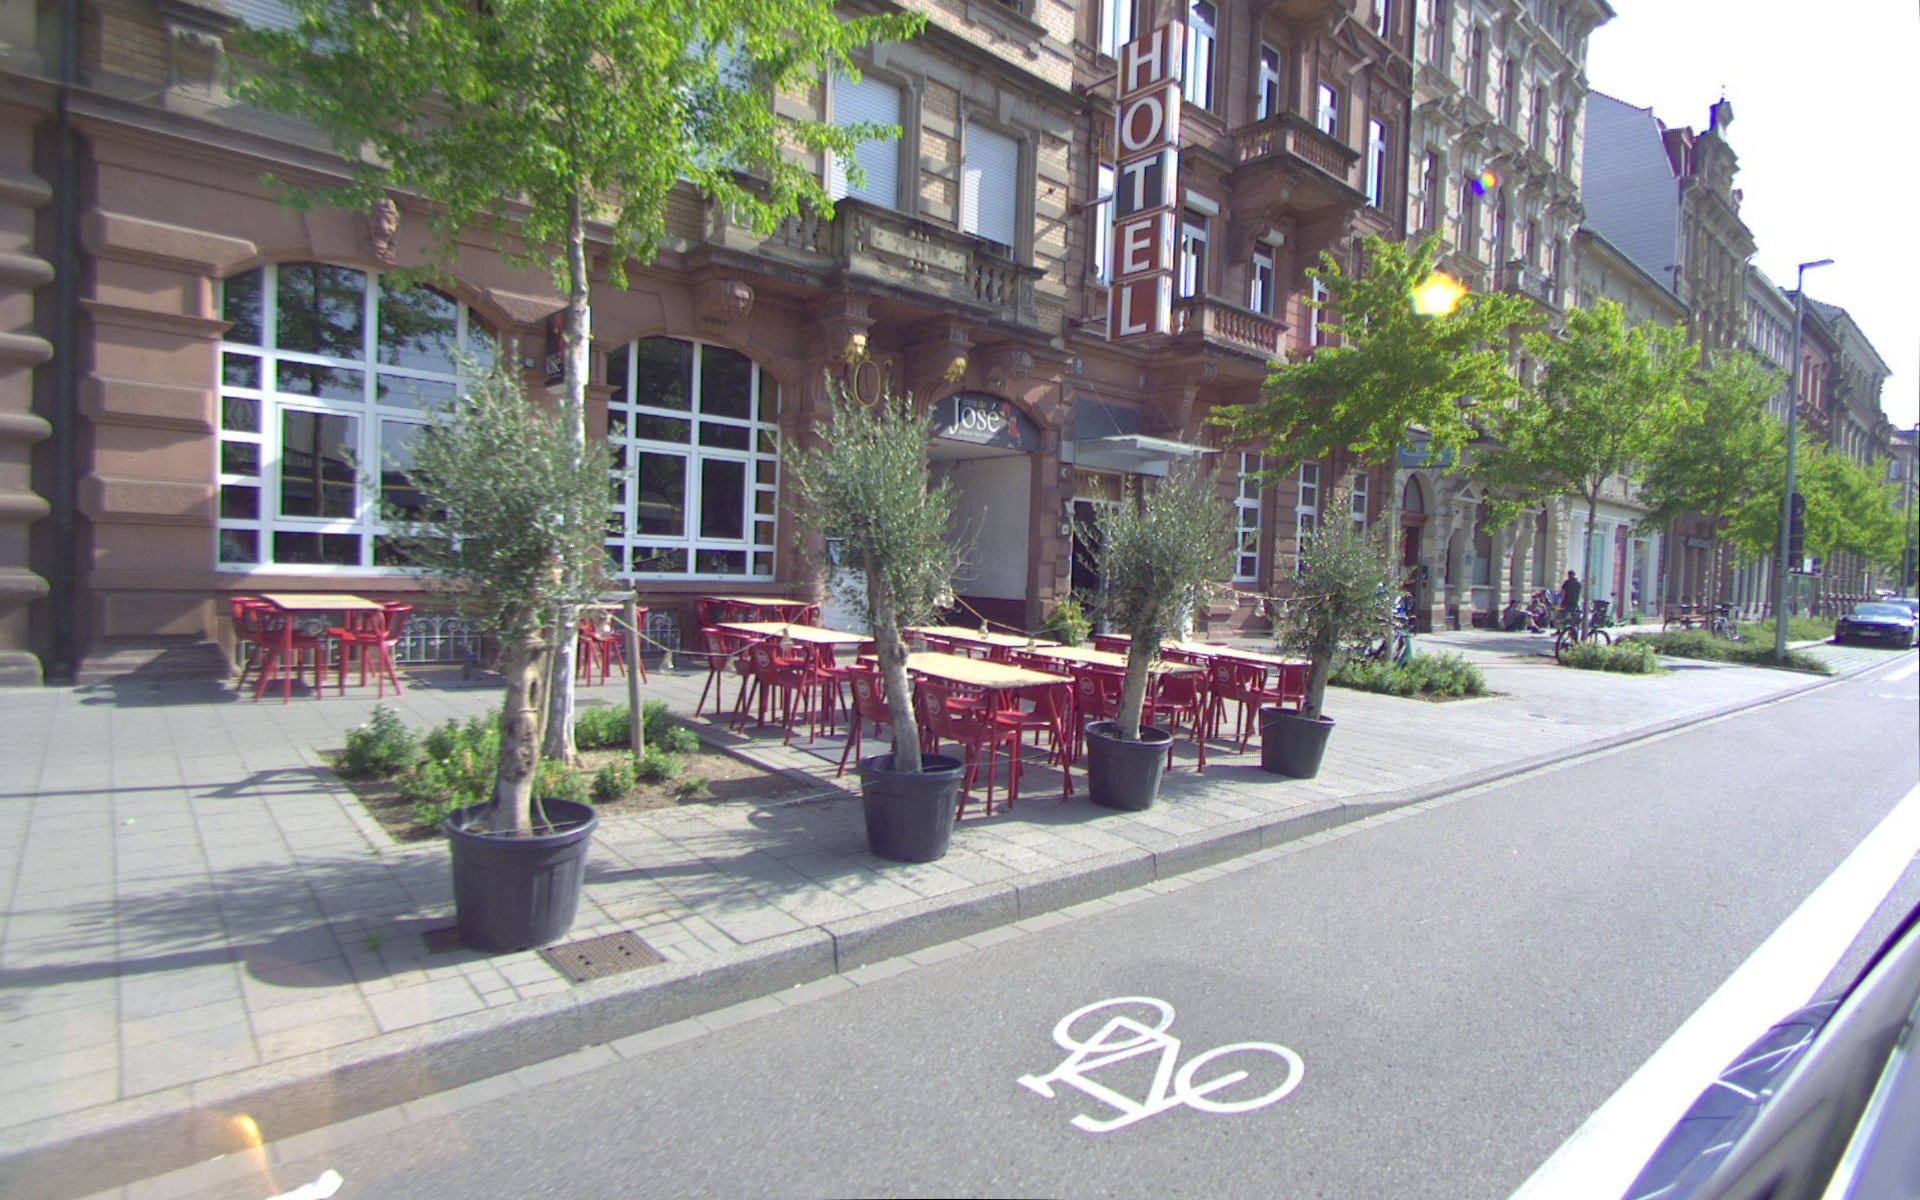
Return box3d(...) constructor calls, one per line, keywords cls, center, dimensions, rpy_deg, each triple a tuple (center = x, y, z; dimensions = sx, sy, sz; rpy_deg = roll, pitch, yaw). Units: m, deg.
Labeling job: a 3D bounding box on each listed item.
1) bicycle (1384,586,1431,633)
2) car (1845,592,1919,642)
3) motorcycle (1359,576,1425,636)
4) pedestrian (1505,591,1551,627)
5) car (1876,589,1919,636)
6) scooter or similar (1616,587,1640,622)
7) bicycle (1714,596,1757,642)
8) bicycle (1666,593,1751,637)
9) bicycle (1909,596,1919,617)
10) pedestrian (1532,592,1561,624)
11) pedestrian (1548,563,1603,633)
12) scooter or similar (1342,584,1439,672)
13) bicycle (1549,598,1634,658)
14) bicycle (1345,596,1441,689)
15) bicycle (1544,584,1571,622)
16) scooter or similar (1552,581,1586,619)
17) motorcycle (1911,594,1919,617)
box3d(cls="bicycle", center=(10.147, 0.208, 22.926), dimensions=(1.232, 1.031, 0.398), rpy_deg=(0, 2, -37))
box3d(cls="car", center=(30.260, 0.508, 32.732), dimensions=(4.631, 1.413, 1.741), rpy_deg=(0, 4, -41))
box3d(cls="motorcycle", center=(9.188, 0.117, 21.489), dimensions=(1.911, 1.189, 0.464), rpy_deg=(0, 4, -42))
box3d(cls="pedestrian", center=(15.468, 0.229, 27.560), dimensions=(0.699, 0.887, 0.878), rpy_deg=(0, 4, -45))
box3d(cls="car", center=(35.552, 0.458, 37.770), dimensions=(1.771, 1.607, 4.179), rpy_deg=(5, 4, 44))
box3d(cls="scooter or similar", center=(22.375, 0.153, 33.897), dimensions=(1.068, 1.148, 0.289), rpy_deg=(1, 2, -36))
box3d(cls="bicycle", center=(19.506, 0.471, 25.453), dimensions=(1.795, 1.107, 0.493), rpy_deg=(0, 2, -42))
box3d(cls="bicycle", center=(19.663, 0.389, 26.600), dimensions=(1.842, 1.095, 0.455), rpy_deg=(0, 3, 1))
box3d(cls="bicycle", center=(52.004, 0.410, 54.079), dimensions=(1.808, 1.109, 0.661), rpy_deg=(6, 4, 44))
box3d(cls="pedestrian", center=(16.649, 0.218, 28.747), dimensions=(0.570, 0.865, 0.450), rpy_deg=(6, 4, 43))
box3d(cls="pedestrian", center=(15.834, -0.053, 26.044), dimensions=(0.777, 1.717, 0.827), rpy_deg=(1, 3, -32))
box3d(cls="scooter or similar", center=(6.430, 0.397, 15.155), dimensions=(0.333, 1.171, 1.261), rpy_deg=(0, 5, -37))
box3d(cls="bicycle", center=(12.060, 0.548, 19.312), dimensions=(1.678, 1.073, 0.507), rpy_deg=(2, 3, -27))
box3d(cls="bicycle", center=(5.853, 0.525, 13.628), dimensions=(0.595, 1.136, 1.897), rpy_deg=(3, 2, 42))
box3d(cls="bicycle", center=(18.020, 0.089, 30.511), dimensions=(0.450, 1.097, 1.428), rpy_deg=(3, 2, 38))
box3d(cls="scooter or similar", center=(18.944, 0.000, 31.475), dimensions=(0.915, 1.139, 0.608), rpy_deg=(0, 2, -42))
box3d(cls="motorcycle", center=(54.938, 0.373, 56.839), dimensions=(2.011, 1.302, 0.703), rpy_deg=(4, 2, 13))
